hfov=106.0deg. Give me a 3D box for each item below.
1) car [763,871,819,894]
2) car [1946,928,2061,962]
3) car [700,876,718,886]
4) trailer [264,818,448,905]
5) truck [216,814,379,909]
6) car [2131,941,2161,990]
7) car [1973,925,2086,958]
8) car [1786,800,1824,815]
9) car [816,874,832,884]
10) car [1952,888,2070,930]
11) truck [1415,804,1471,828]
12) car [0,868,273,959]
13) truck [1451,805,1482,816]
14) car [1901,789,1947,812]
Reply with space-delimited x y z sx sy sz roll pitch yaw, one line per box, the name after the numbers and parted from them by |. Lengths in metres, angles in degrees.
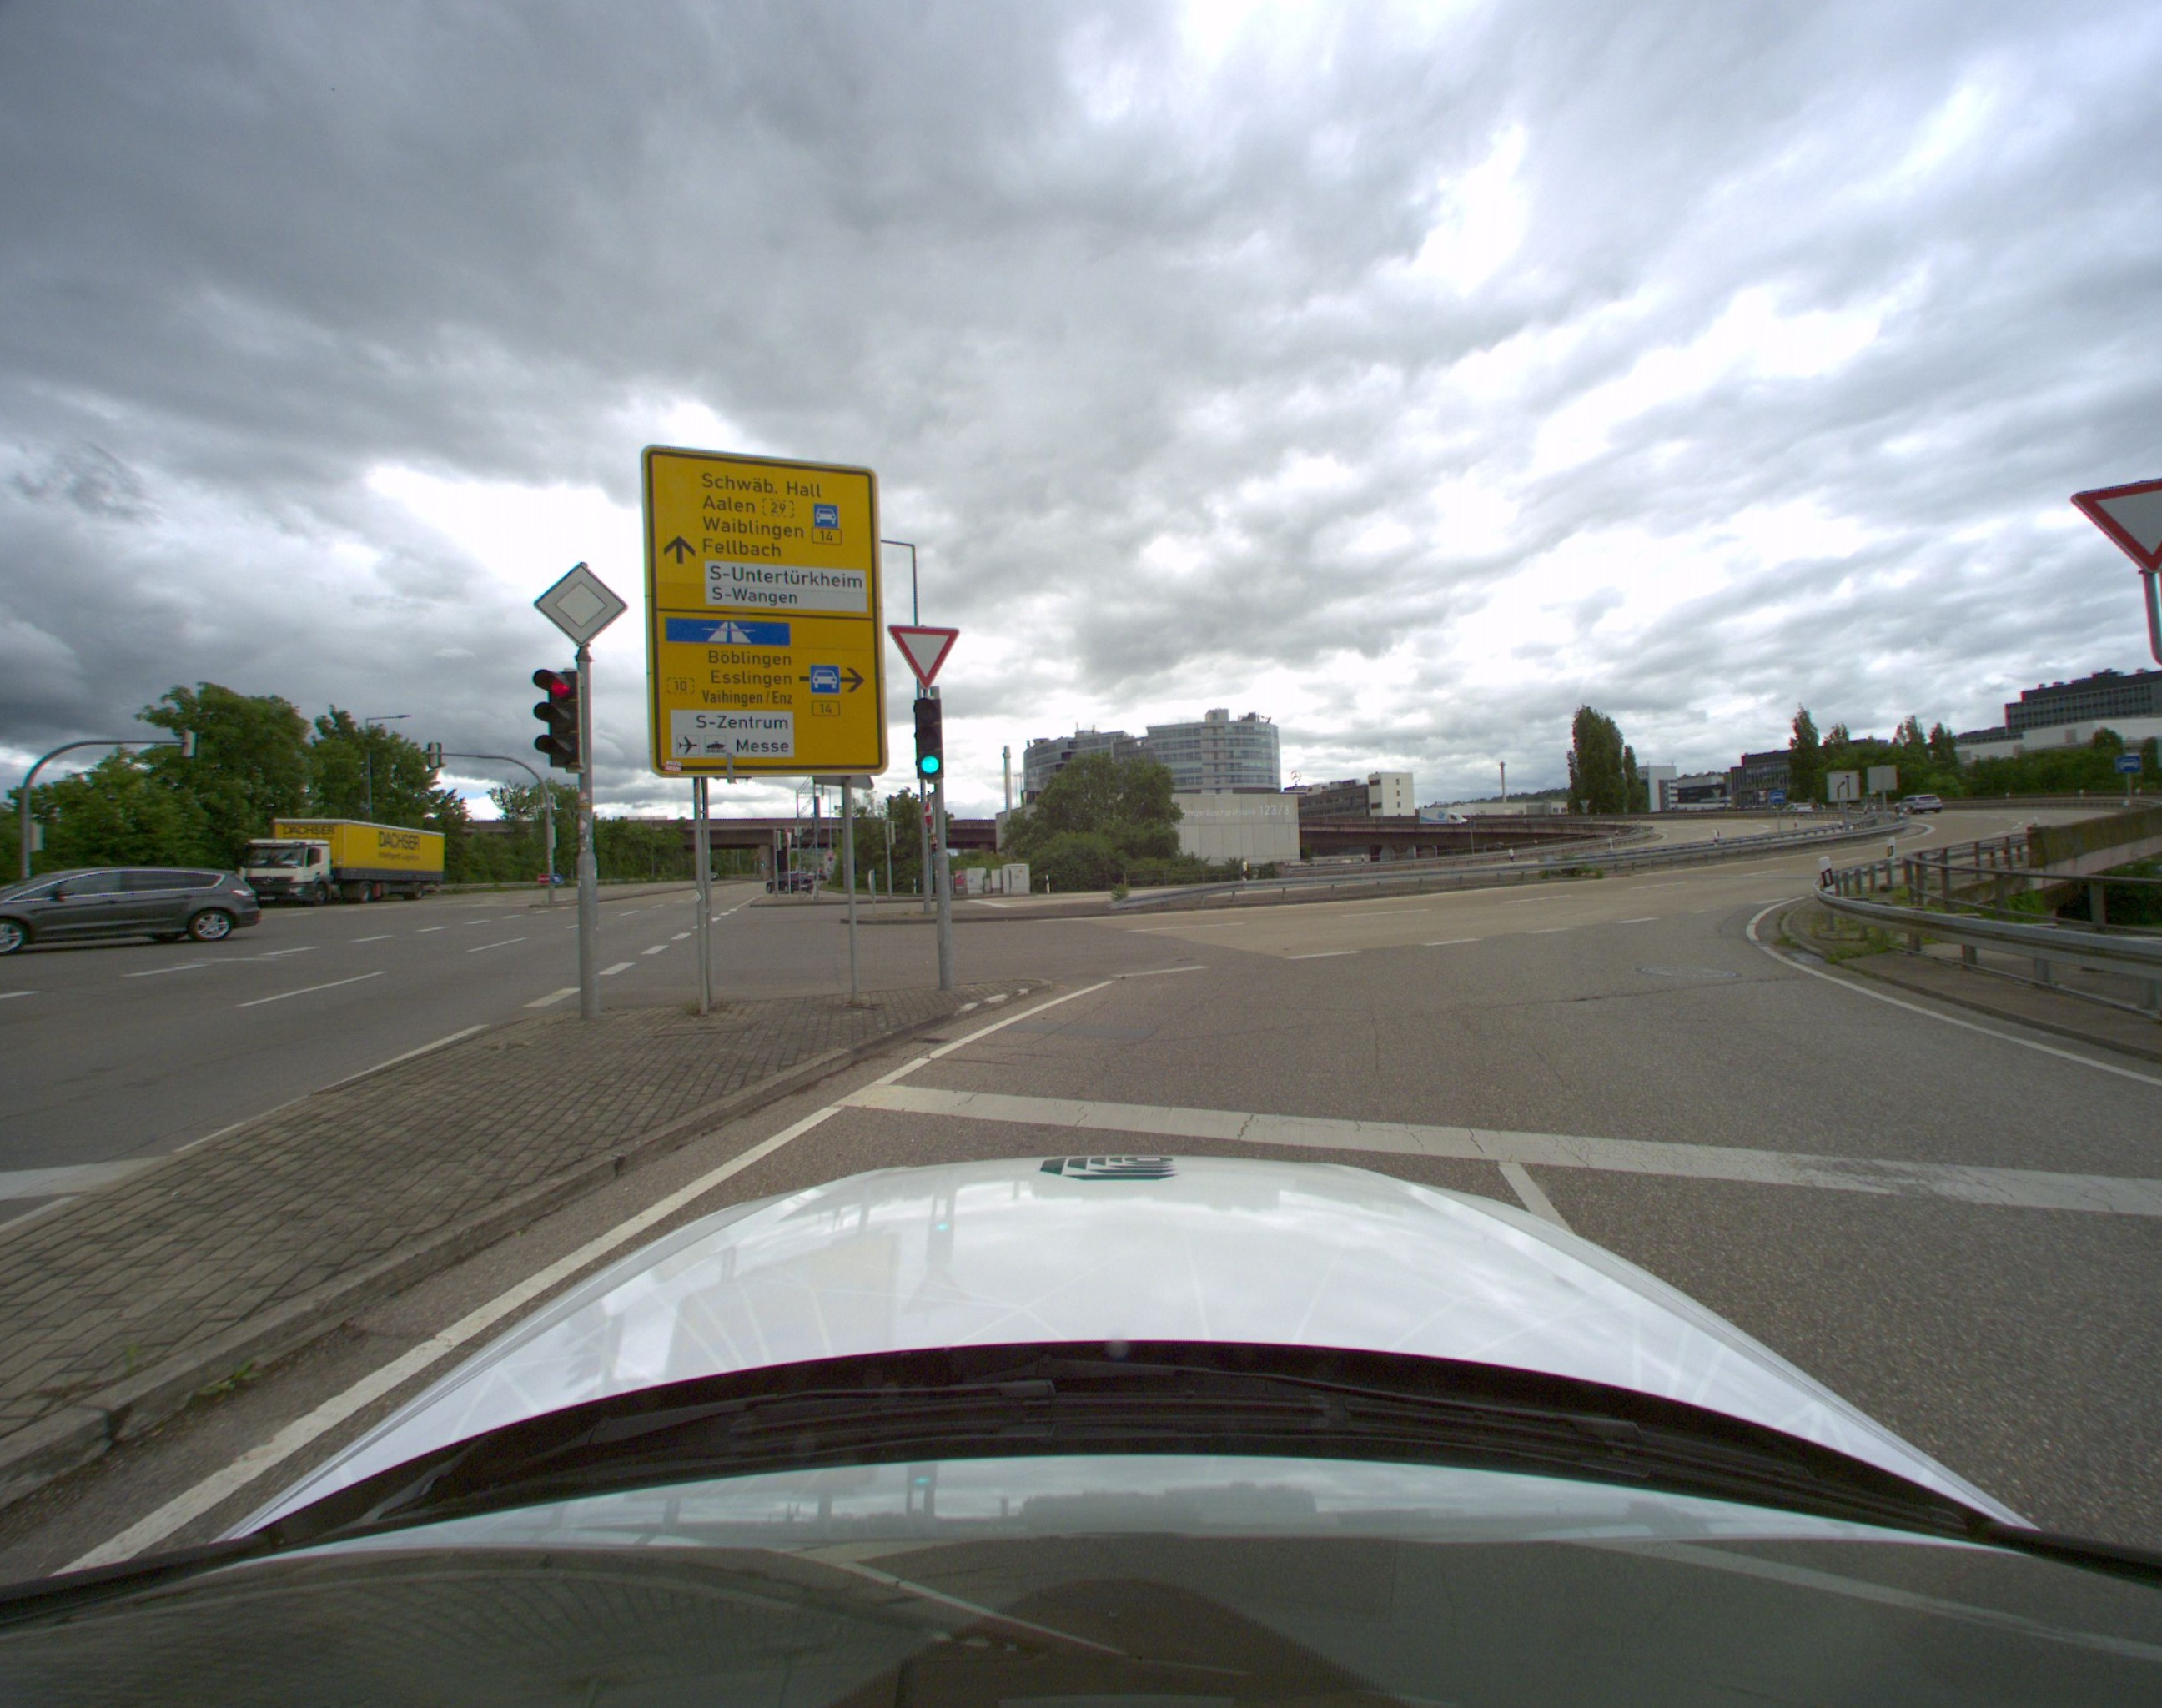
-19.170 1.851 53.823 3.944 1.421 1.927 0 0 44 | car
49.576 4.856 43.835 1.833 1.354 3.824 -2 1 -32 | car
-58.109 4.235 127.240 1.866 1.383 3.849 2 0 -15 | car
-38.465 0.423 43.950 2.879 4.084 11.358 1 -1 -17 | trailer
-36.812 0.362 38.642 2.879 4.084 6.448 1 -1 -17 | truck
45.731 4.663 33.912 4.010 1.534 1.810 -2 1 -28 | car
52.221 4.790 44.884 1.833 1.354 3.824 -2 1 -32 | car
78.859 -5.010 88.723 1.710 1.400 4.087 -2 0 20 | car
-41.499 4.012 131.627 1.995 1.464 4.091 0 -3 -13 | car
68.785 3.981 60.368 2.017 2.588 5.353 1 1 -22 | car
53.646 -5.591 120.916 7.258 3.269 2.343 -1 -1 45 | truck
-20.106 1.137 16.611 1.932 1.571 4.719 -1 0 22 | car
79.140 -8.946 167.141 5.611 2.164 1.997 0 -1 -4 | truck
75.256 -4.768 72.750 1.707 1.737 4.584 -2 0 31 | car
